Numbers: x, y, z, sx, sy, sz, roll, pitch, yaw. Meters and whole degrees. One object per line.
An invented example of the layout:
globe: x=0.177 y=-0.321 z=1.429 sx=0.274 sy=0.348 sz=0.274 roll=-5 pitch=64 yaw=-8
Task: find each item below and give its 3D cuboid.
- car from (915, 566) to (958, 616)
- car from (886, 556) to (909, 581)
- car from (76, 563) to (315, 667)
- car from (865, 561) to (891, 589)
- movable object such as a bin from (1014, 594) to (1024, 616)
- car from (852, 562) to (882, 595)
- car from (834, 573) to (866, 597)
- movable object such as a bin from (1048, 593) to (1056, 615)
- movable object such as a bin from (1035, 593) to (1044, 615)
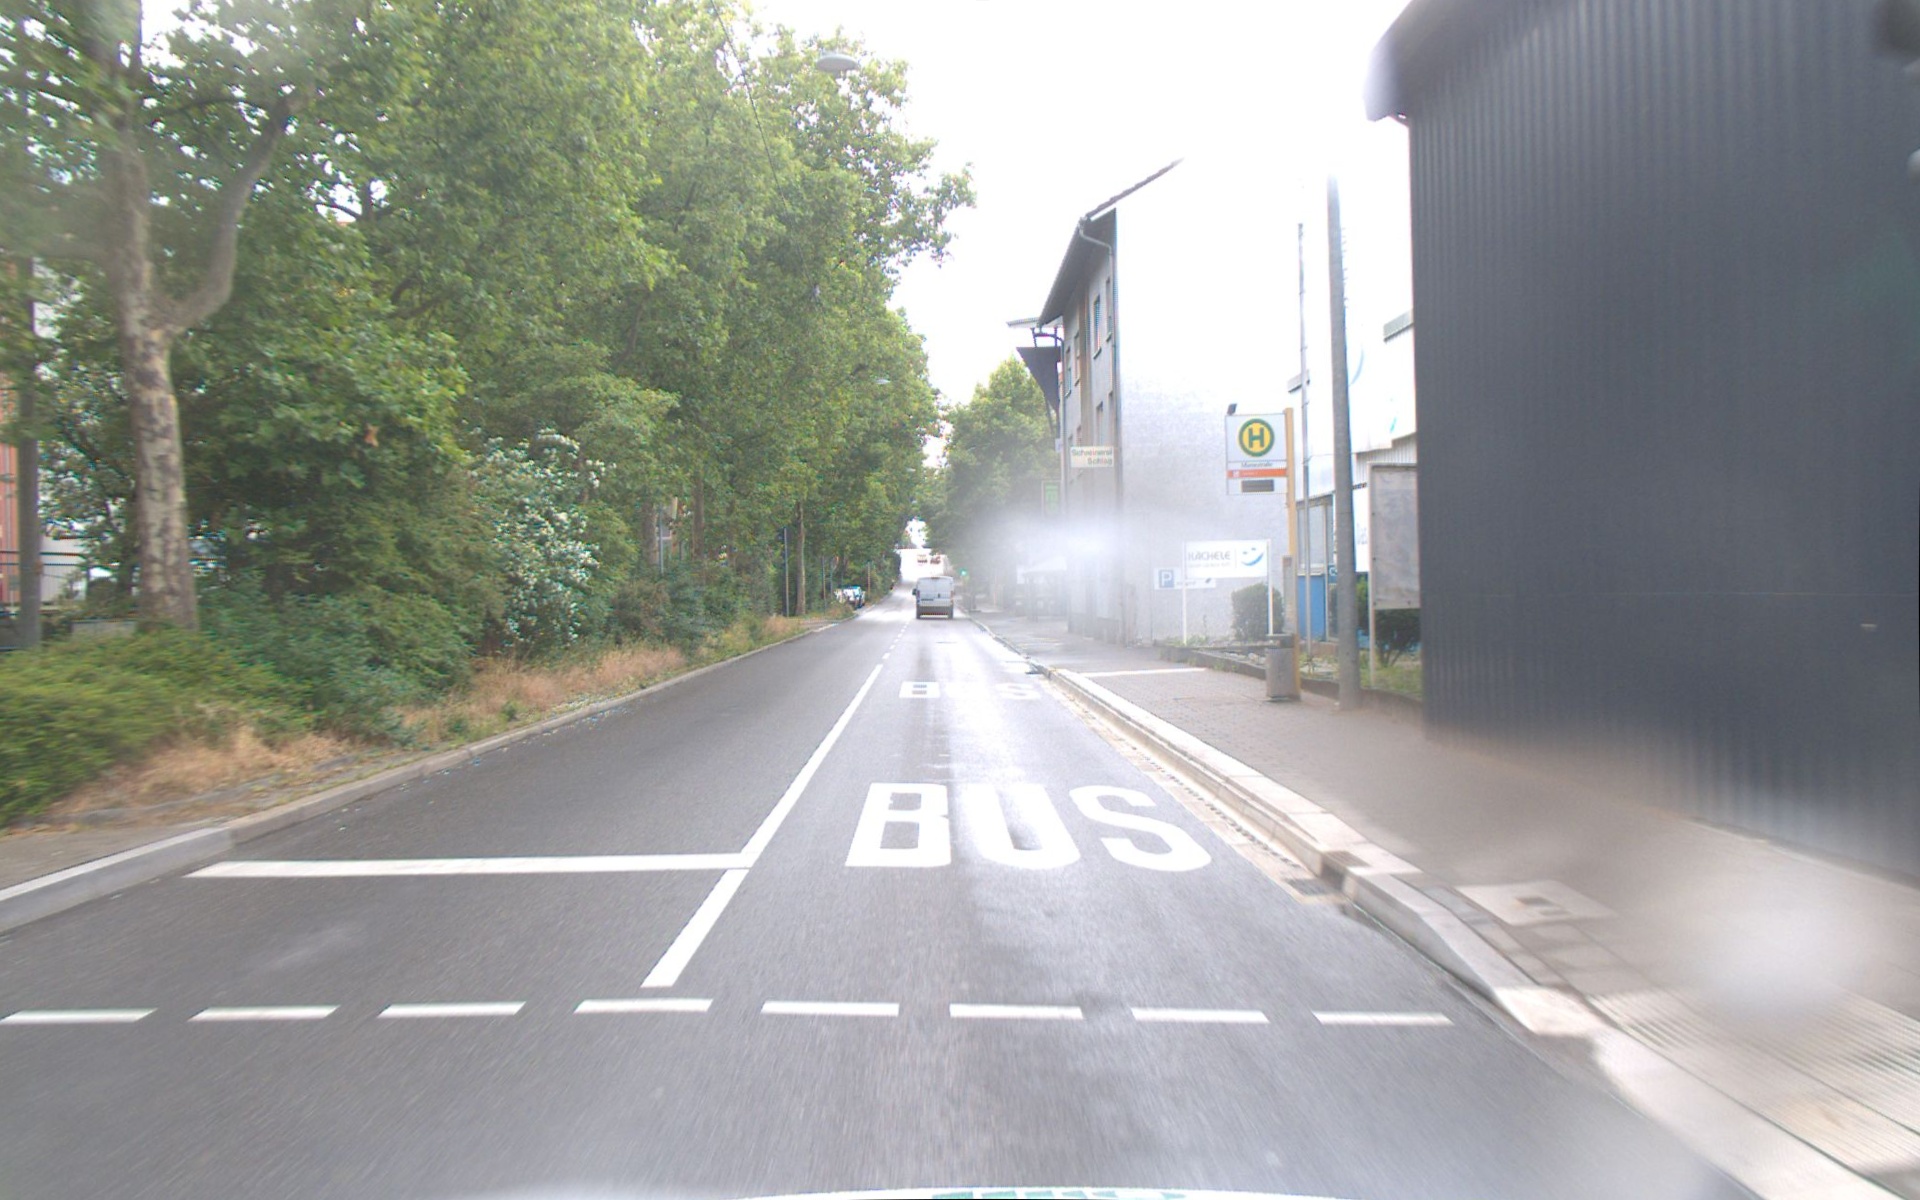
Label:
car: x=-1.290 y=-0.462 z=90.004 sx=2.236 sy=2.597 sz=3.999 roll=-1 pitch=-2 yaw=-1
car: x=-6.304 y=-3.137 z=167.227 sx=2.171 sy=2.334 sz=4.607 roll=0 pitch=-2 yaw=-2
car: x=-15.625 y=0.286 z=33.977 sx=4.086 sy=2.049 sz=1.718 roll=0 pitch=0 yaw=-4
car: x=-7.962 y=-2.427 z=160.352 sx=2.170 sy=2.334 sz=4.609 roll=0 pitch=-3 yaw=1
movable object such as a bin: x=3.058 y=0.276 z=85.391 sx=0.392 sy=1.085 sz=0.358 roll=-4 pitch=-1 yaw=-7
car: x=-7.805 y=-1.823 z=139.687 sx=2.170 sy=2.578 sz=4.609 roll=0 pitch=-2 yaw=1
car: x=-8.939 y=-1.205 z=134.966 sx=2.170 sy=1.721 sz=4.609 roll=0 pitch=-2 yaw=1
movable object such as a bin: x=4.760 y=0.212 z=85.556 sx=0.349 sy=1.085 sz=0.358 roll=1 pitch=-2 yaw=-7
movable object such as a bin: x=4.109 y=0.212 z=85.495 sx=0.392 sy=1.085 sz=0.358 roll=-1 pitch=-2 yaw=-7
